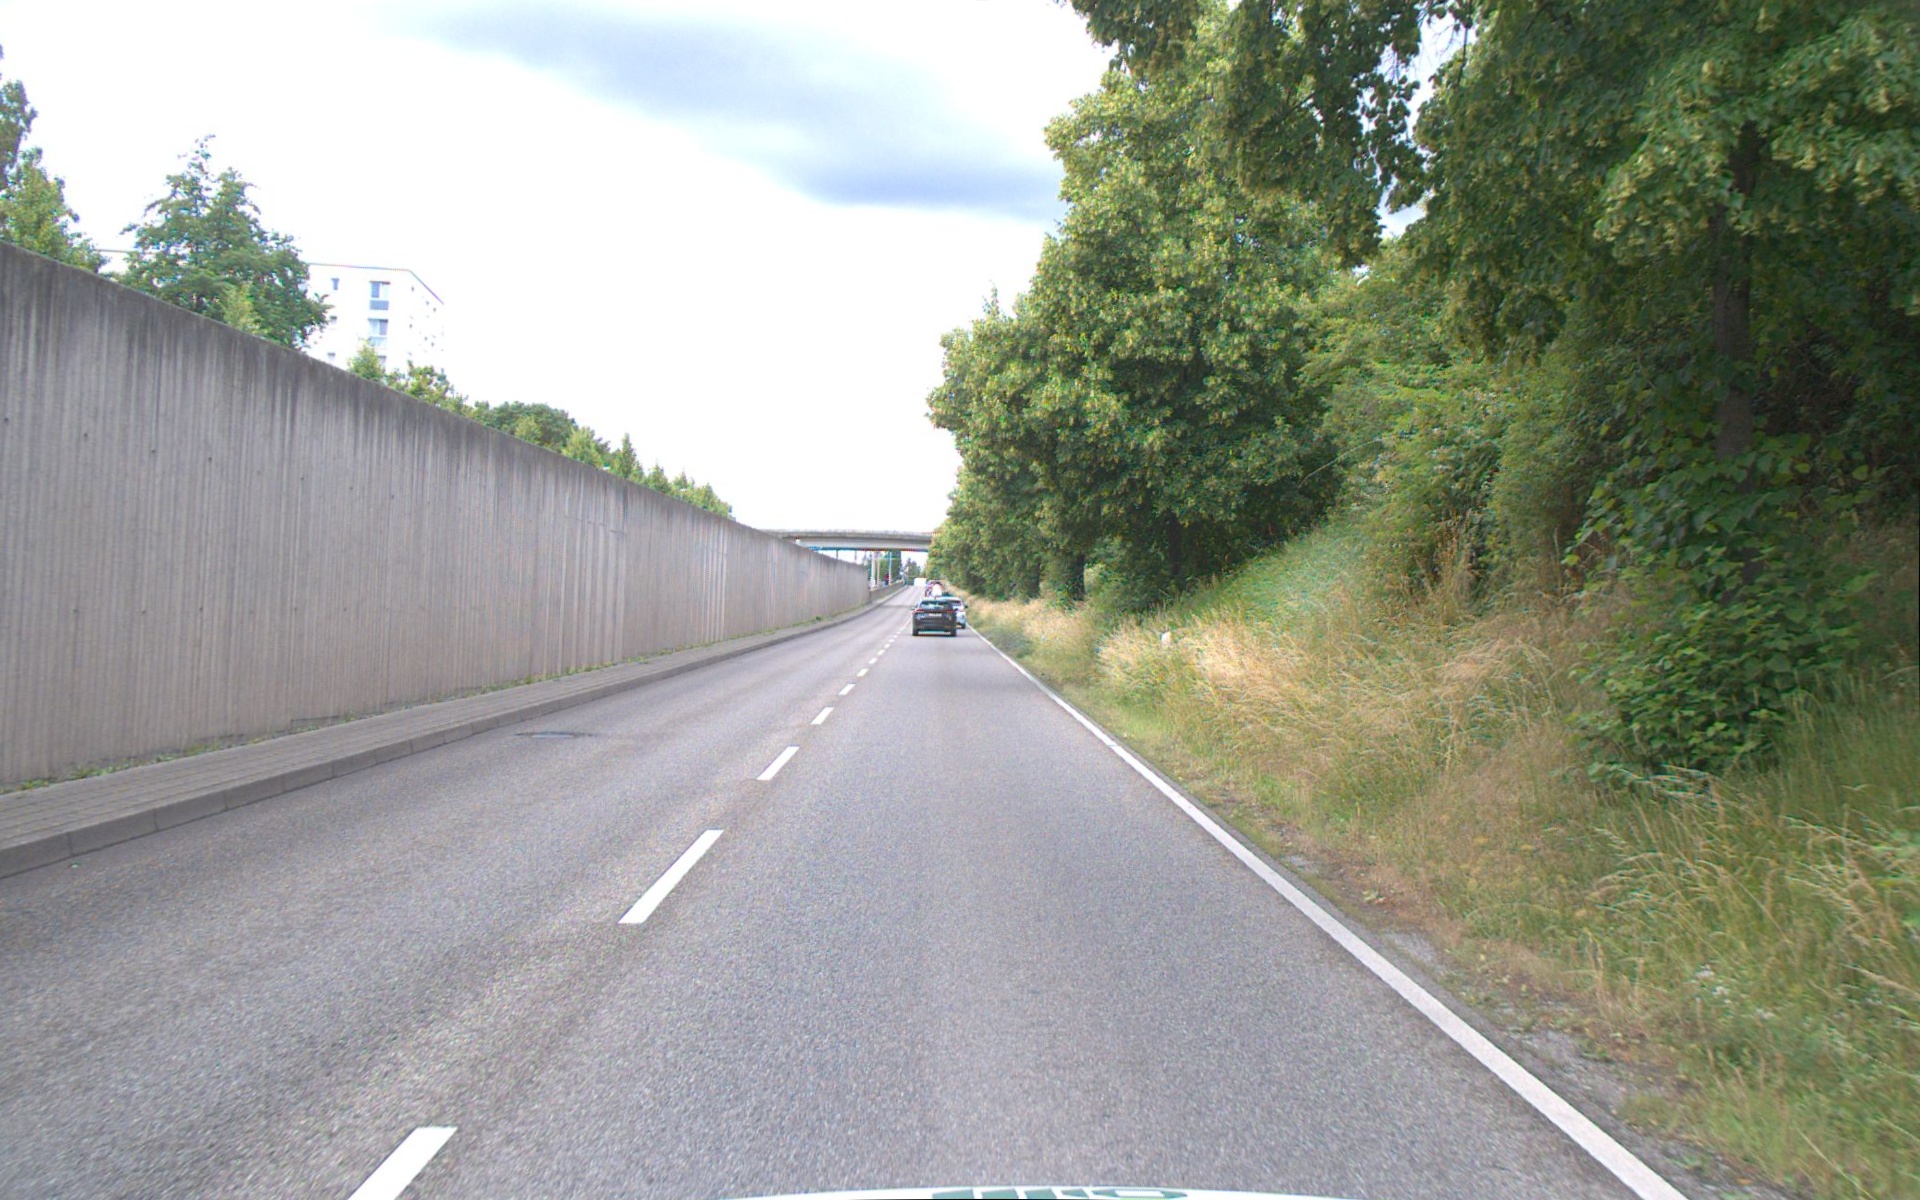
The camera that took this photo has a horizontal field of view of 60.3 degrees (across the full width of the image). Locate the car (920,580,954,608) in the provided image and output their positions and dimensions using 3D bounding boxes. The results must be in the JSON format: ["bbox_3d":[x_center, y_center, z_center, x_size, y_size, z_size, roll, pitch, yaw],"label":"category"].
[{"bbox_3d":[-1.382,-0.353,99.740,1.829,1.516,4.255,4,0,-3],"label":"car"}]

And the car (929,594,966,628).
[{"bbox_3d":[-0.609,0.559,80.561,1.718,1.550,4.035,-1,-1,-1],"label":"car"}]

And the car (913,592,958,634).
[{"bbox_3d":[-0.964,0.526,65.418,1.719,1.550,4.035,0,-2,-1],"label":"car"}]
